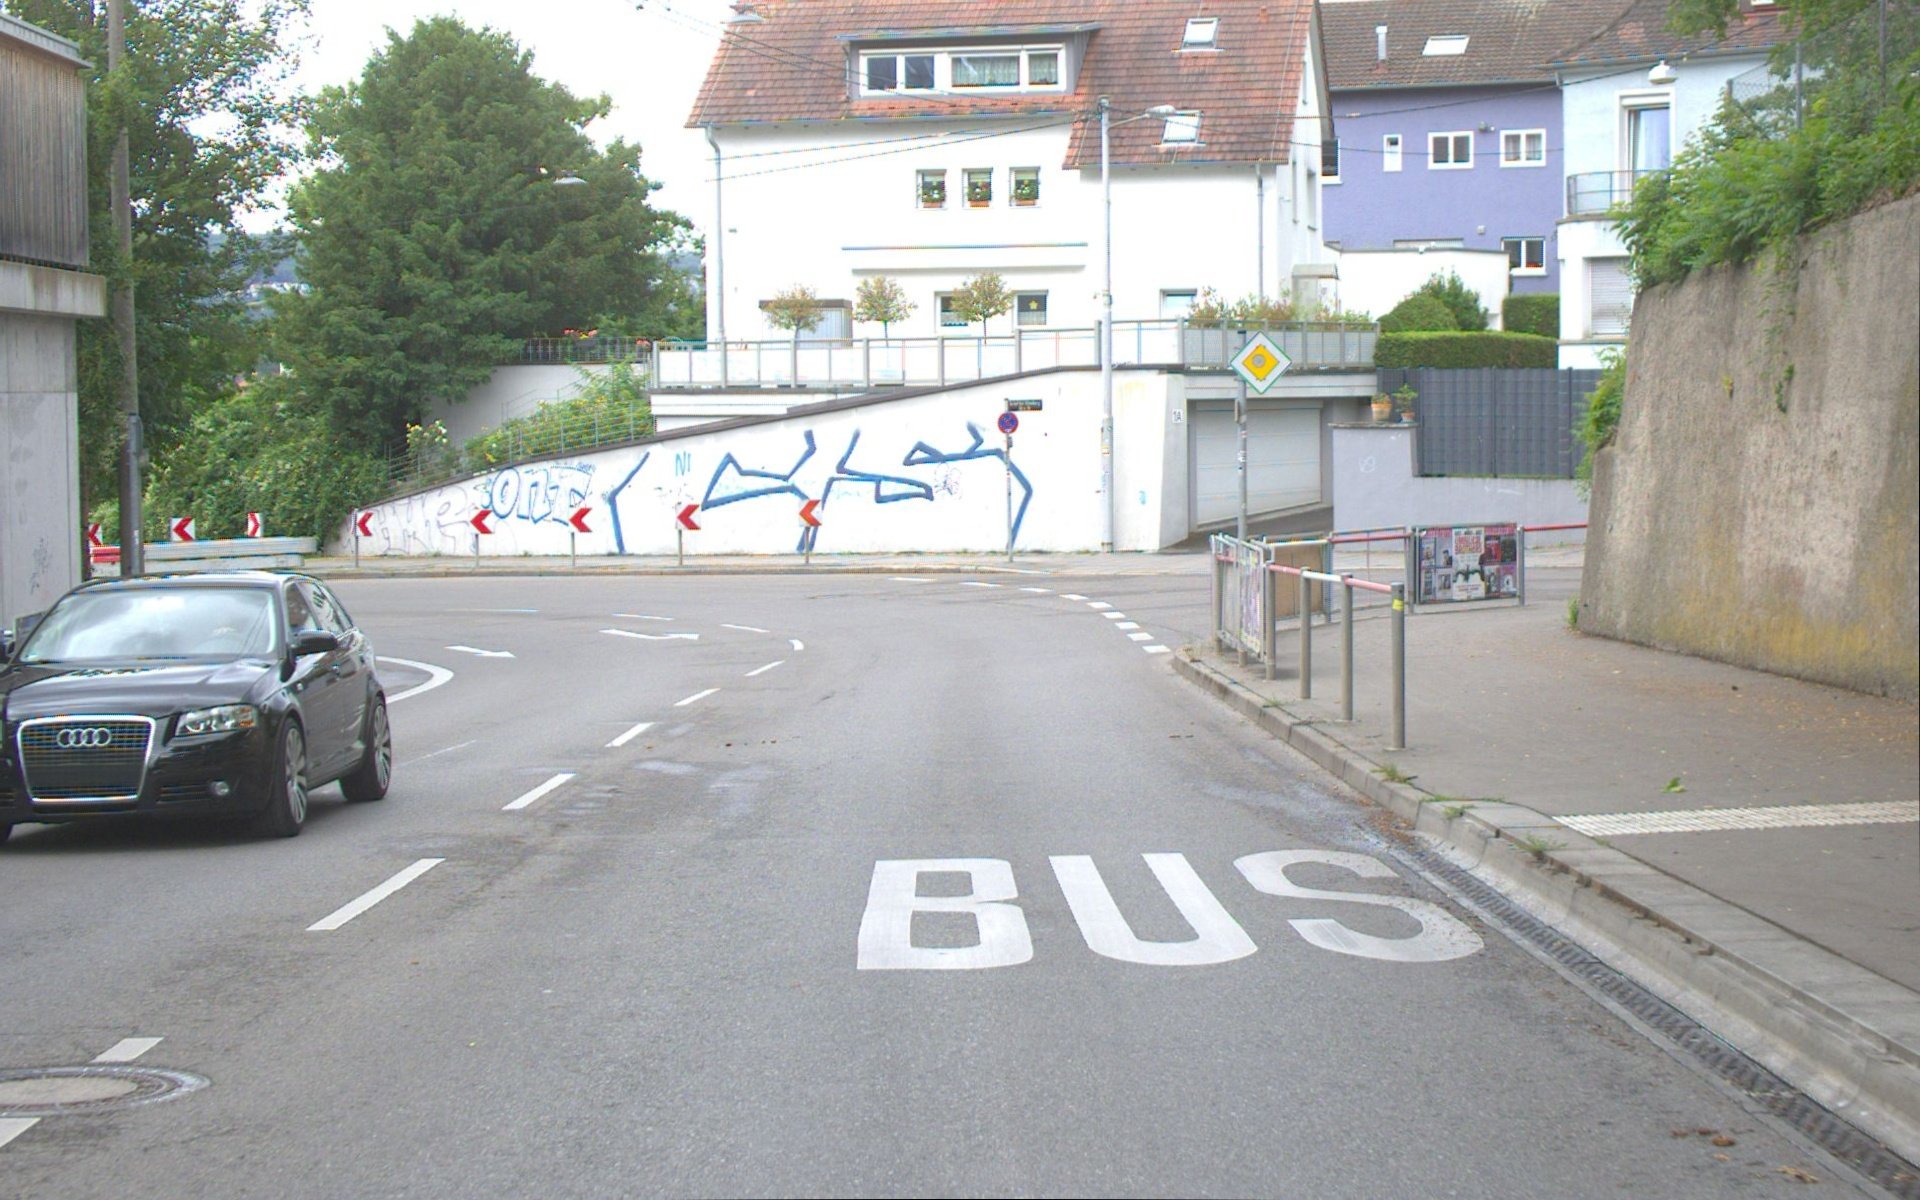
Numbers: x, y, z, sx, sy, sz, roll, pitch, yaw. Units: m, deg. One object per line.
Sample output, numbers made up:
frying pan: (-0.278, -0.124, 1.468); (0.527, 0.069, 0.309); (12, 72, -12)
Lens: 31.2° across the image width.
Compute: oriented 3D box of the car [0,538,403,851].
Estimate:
car: (-4.298, 0.448, 19.077); (1.735, 1.527, 4.000); (-1, 1, 0)
